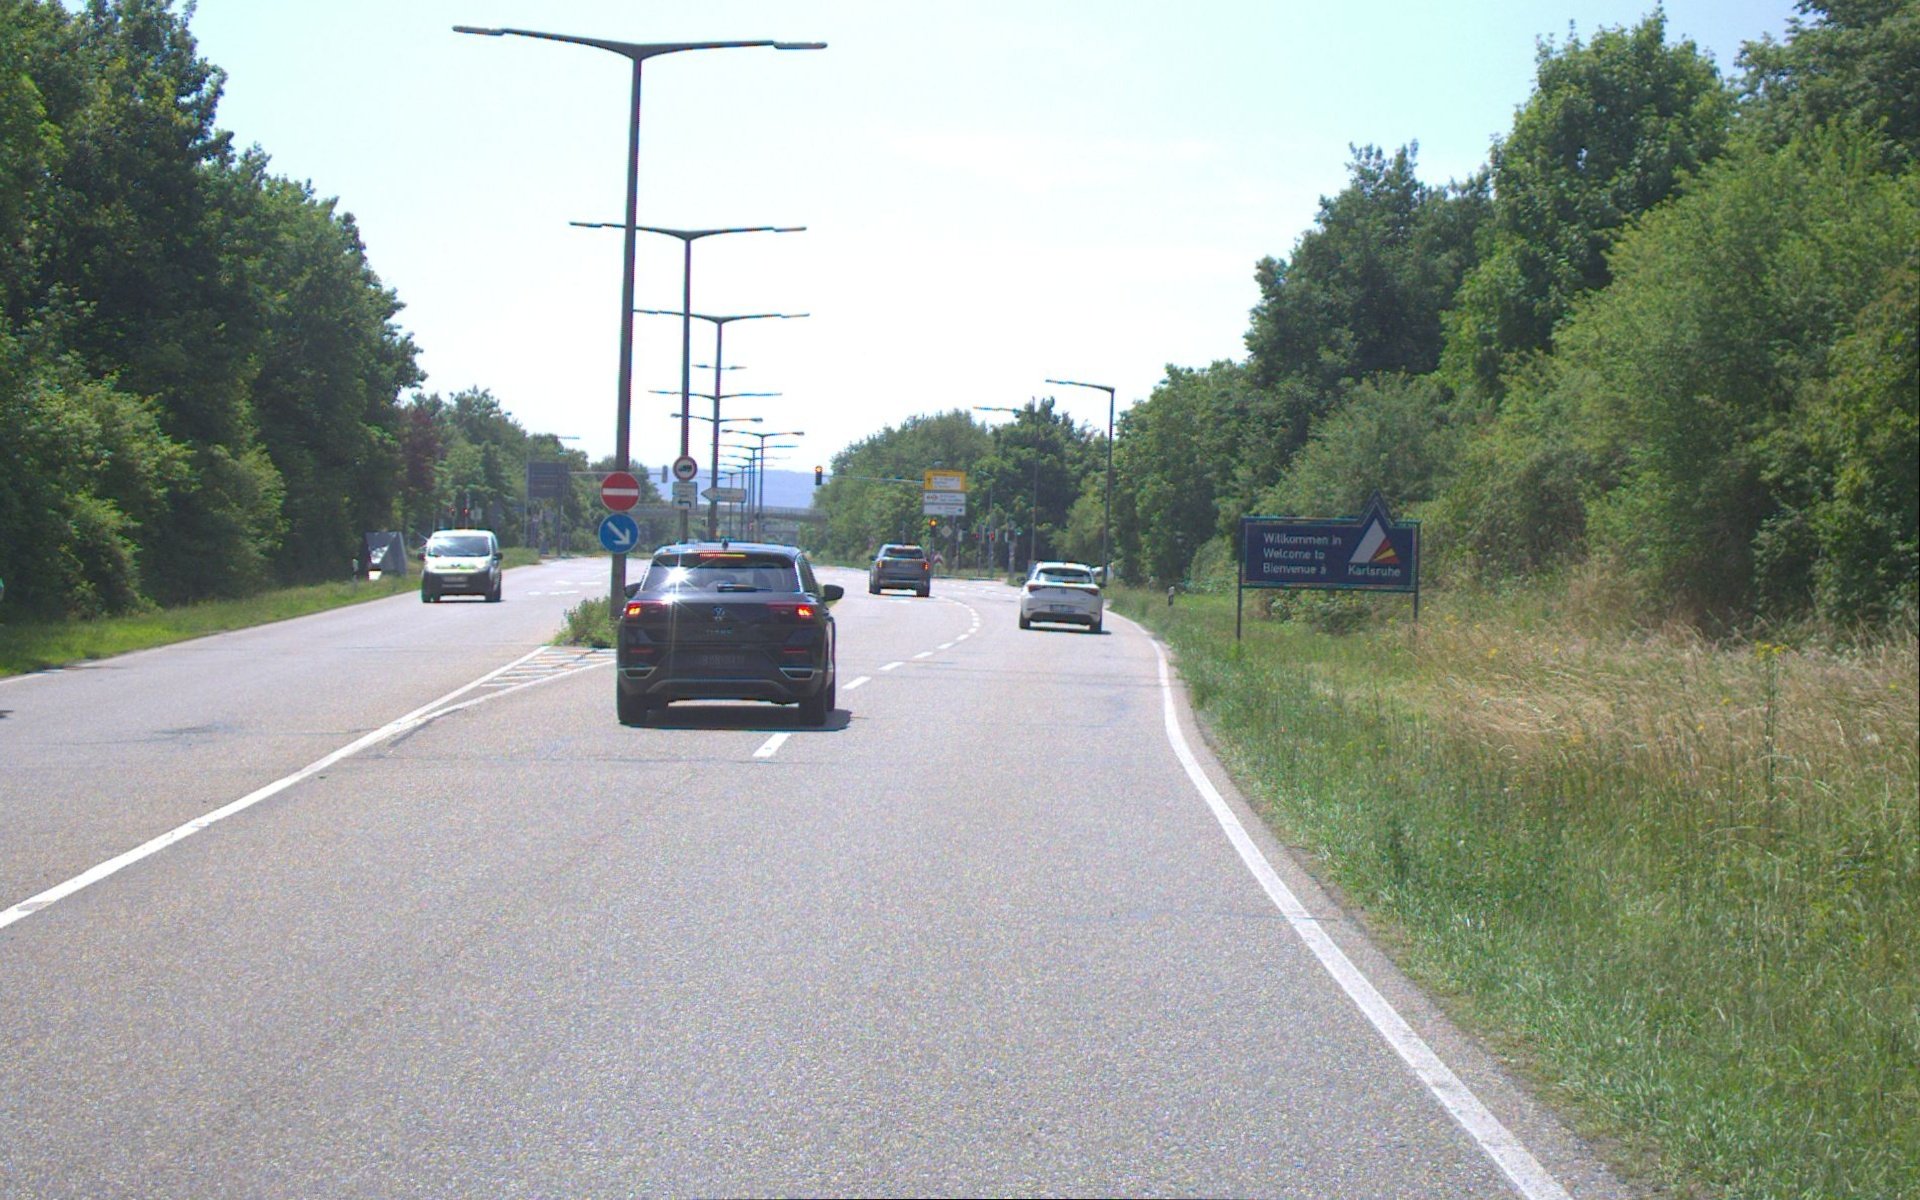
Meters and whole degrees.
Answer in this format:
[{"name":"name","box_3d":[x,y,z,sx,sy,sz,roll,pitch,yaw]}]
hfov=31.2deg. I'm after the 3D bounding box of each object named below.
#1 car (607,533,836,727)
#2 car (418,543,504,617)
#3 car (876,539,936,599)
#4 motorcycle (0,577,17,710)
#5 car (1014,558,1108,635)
[{"name":"car","box_3d":[-2.160,0.220,30.220,1.755,1.551,4.001,1,1,-7]},{"name":"car","box_3d":[-11.951,-0.505,82.573,1.731,1.682,4.096,-1,1,-4]},{"name":"car","box_3d":[-1.853,-1.061,116.211,1.755,1.922,4.001,2,1,-4]},{"name":"motorcycle","box_3d":[-8.809,0.391,30.161,0.670,1.170,2.232,1,1,-6]},{"name":"car","box_3d":[2.140,-0.097,73.730,1.797,1.577,4.000,0,1,-1]}]
